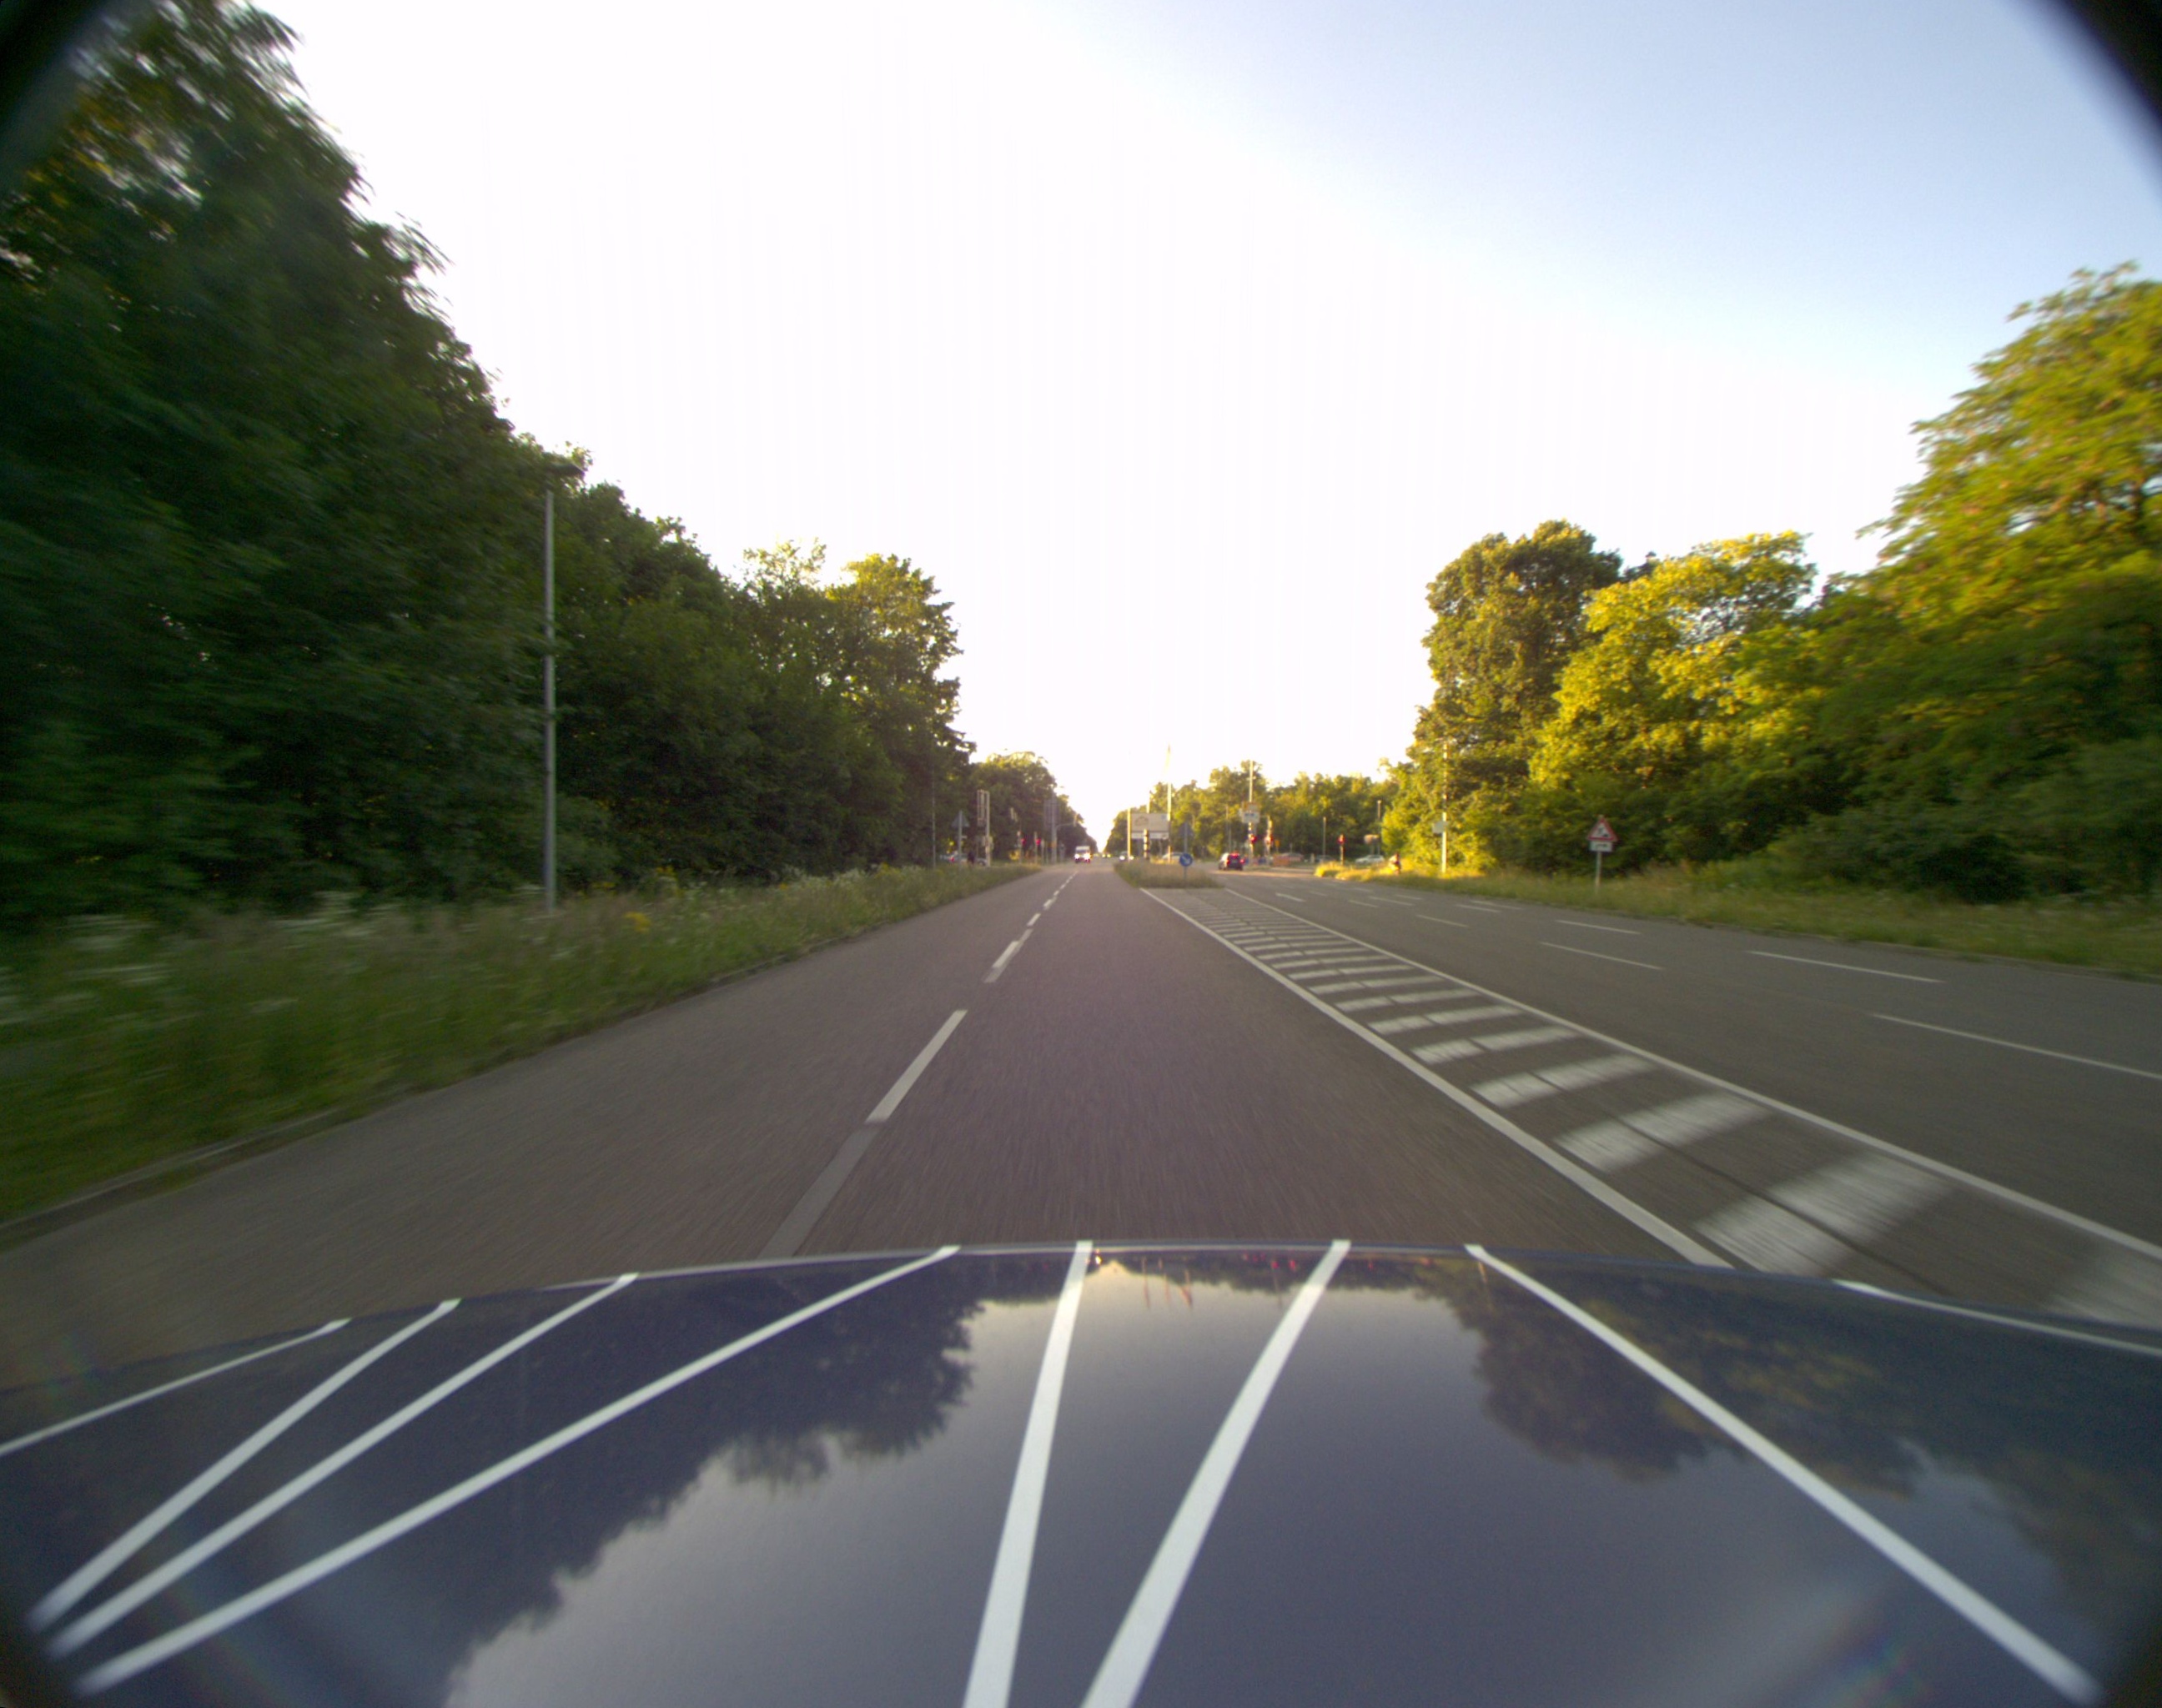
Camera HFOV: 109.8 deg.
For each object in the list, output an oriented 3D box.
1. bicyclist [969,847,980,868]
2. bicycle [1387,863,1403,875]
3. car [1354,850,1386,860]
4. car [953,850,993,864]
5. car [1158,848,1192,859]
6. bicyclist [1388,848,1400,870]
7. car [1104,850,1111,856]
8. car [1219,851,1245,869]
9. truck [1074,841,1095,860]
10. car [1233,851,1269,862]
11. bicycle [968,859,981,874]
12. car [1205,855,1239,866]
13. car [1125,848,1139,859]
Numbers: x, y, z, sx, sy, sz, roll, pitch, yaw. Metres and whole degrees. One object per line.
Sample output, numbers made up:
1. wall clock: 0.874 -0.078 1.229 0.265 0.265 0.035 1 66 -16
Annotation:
1. bicyclist: -7.394 0.242 52.777 0.604 1.447 0.780 0 1 2
2. bicycle: 21.146 1.006 51.183 0.586 0.800 1.960 1 0 9
3. car: 43.620 0.110 114.893 4.233 1.447 1.720 0 1 -9
4. car: -11.875 0.290 83.460 4.080 1.397 1.868 0 2 -21
5. car: 12.563 -0.033 101.430 4.235 1.447 1.719 0 1 -15
6. bicyclist: 21.076 0.328 51.143 0.586 1.421 0.823 1 1 9
7. car: 7.637 -0.314 219.697 1.846 1.587 4.207 0 2 1
8. car: 13.383 0.498 67.488 1.823 1.525 4.457 2 1 7
9. truck: 0.573 -0.413 109.138 2.603 2.542 6.025 -2 0 4
10. car: 21.686 0.298 96.973 4.235 1.447 1.719 0 1 -15
11. bicycle: -7.415 0.831 52.933 0.612 0.990 1.691 0 1 2
12. car: 19.181 0.807 103.122 4.235 1.447 1.719 0 1 -15
13. car: 7.494 -0.106 111.968 2.001 1.511 4.000 0 1 2
